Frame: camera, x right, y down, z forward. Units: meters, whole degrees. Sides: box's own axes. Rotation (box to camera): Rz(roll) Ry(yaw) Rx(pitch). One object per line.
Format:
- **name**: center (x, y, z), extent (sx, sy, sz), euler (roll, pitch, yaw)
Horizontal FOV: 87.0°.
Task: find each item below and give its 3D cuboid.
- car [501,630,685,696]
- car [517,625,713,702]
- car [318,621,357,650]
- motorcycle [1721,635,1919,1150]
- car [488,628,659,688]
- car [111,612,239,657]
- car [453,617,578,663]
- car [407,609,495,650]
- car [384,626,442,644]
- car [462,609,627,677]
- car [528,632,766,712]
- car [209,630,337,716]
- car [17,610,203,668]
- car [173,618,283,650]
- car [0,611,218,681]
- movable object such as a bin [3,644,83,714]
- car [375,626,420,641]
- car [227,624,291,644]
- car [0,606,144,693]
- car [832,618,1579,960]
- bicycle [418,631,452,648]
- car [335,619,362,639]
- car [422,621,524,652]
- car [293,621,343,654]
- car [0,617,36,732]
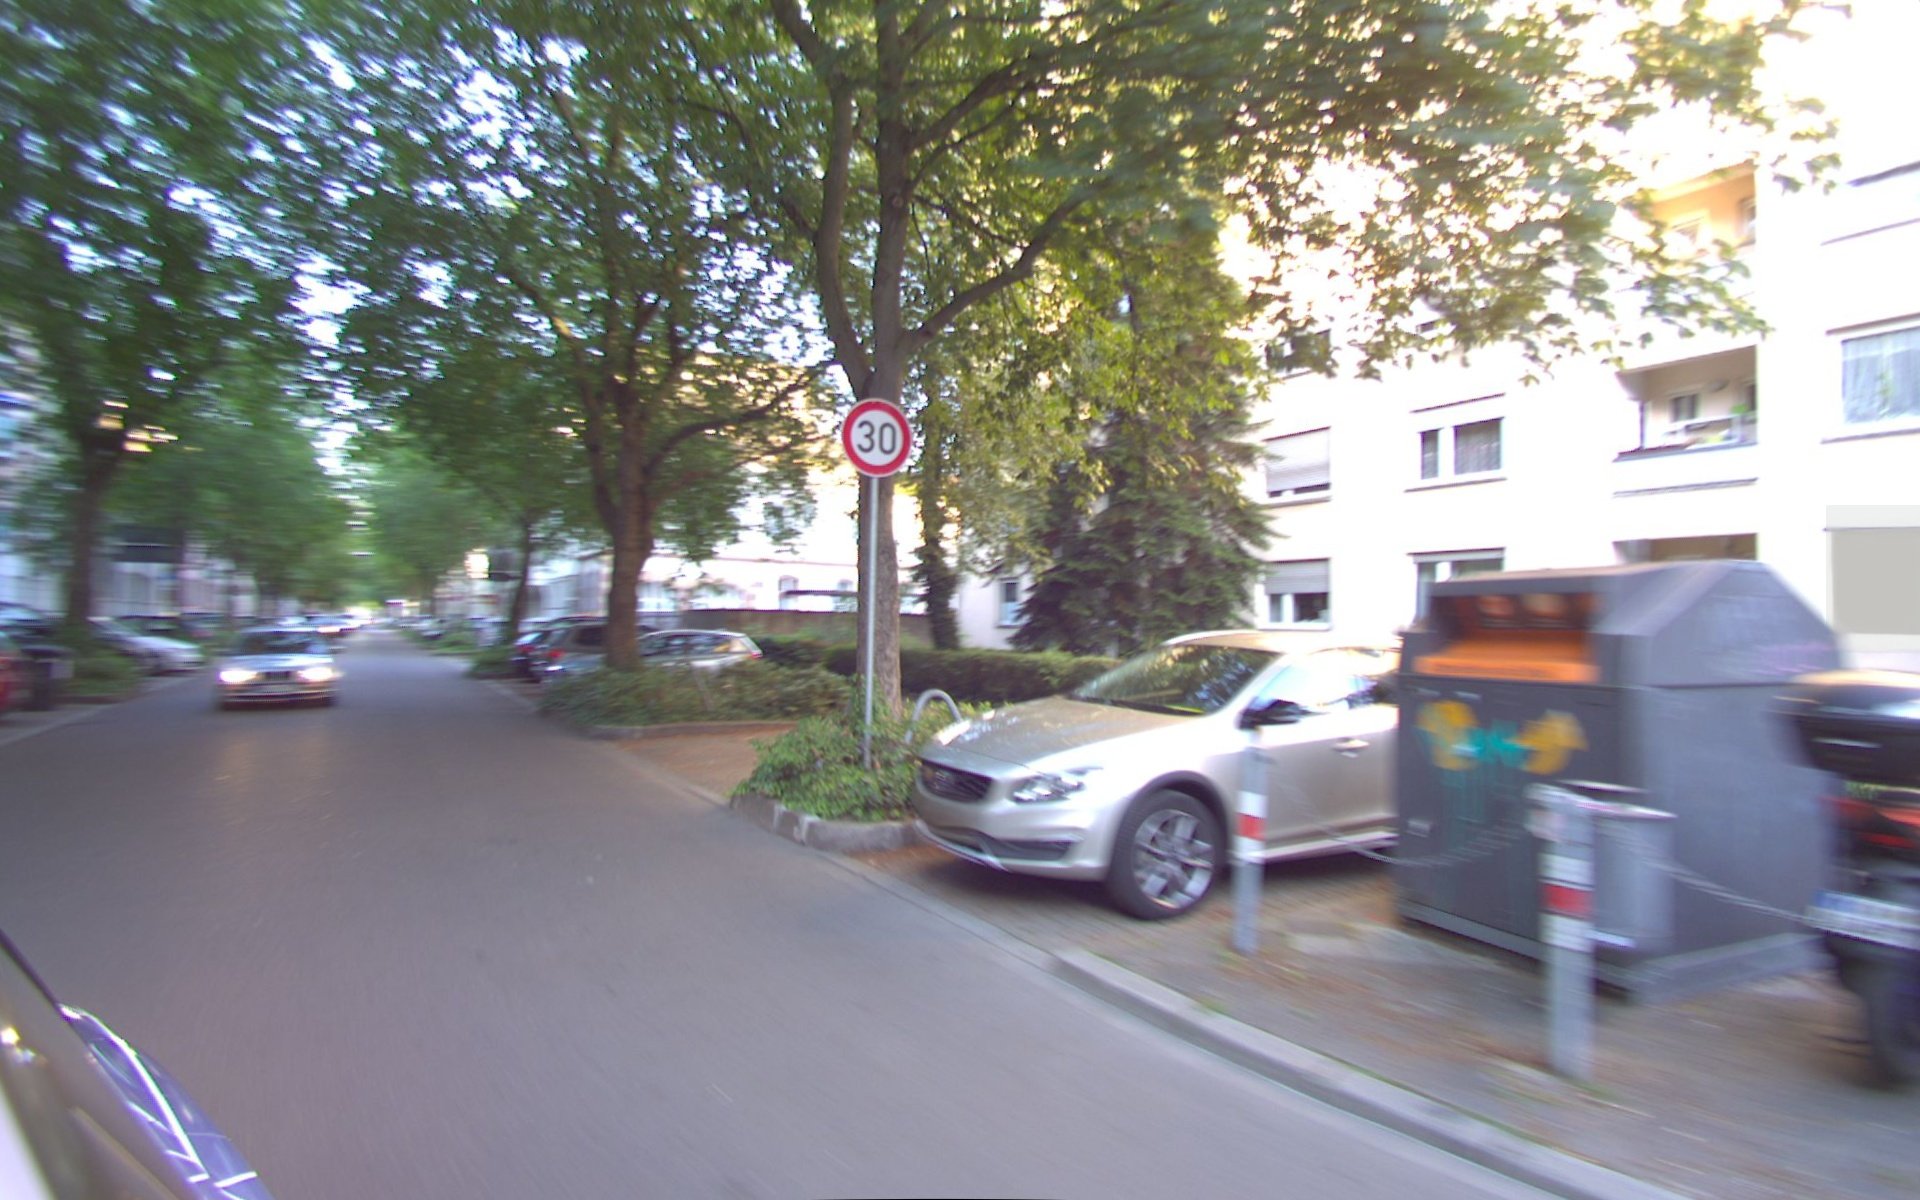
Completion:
- **car**: center (-9.021, 1.507, 24.995), extent (3.933, 1.502, 1.830), euler (2, -2, -34)
- **car**: center (-7.722, 1.386, 22.659), extent (3.930, 1.577, 1.935), euler (2, -2, -26)
- **car**: center (-42.369, 2.394, 68.947), extent (1.965, 1.863, 4.013), euler (1, -2, -27)
- **motorcycle**: center (3.737, 0.854, 3.447), extent (2.418, 1.431, 0.914), euler (2, -2, -29)
- **car**: center (-10.294, 1.512, 27.018), extent (3.932, 1.475, 1.927), euler (2, -2, -33)
- **car**: center (-32.670, 1.461, 42.282), extent (3.914, 1.597, 1.922), euler (5, -4, -31)
- **car**: center (-18.320, 1.647, 41.752), extent (4.443, 1.785, 2.006), euler (2, -2, -33)
- **car**: center (-32.972, 1.952, 65.587), extent (4.934, 2.592, 2.127), euler (2, -3, -31)
- **car**: center (-48.740, 3.119, 90.148), extent (4.447, 1.537, 1.877), euler (2, -2, -31)
- **car**: center (-12.917, 1.325, 31.559), extent (4.443, 1.970, 2.006), euler (2, -2, -33)
- **car**: center (-6.242, 1.390, 20.303), extent (4.228, 1.440, 1.885), euler (2, -2, -31)
- **car**: center (-12.496, 1.251, 18.519), extent (1.709, 1.381, 4.344), euler (2, -2, -33)
- **car**: center (-25.261, 1.186, 30.298), extent (4.029, 1.462, 1.939), euler (6, -5, -36)
- **car**: center (-38.913, 1.822, 53.929), extent (4.396, 1.438, 2.017), euler (5, -4, -27)
- **car**: center (-21.625, 1.172, 25.442), extent (4.537, 1.479, 1.801), euler (5, -4, -32)
- **movable object such as a bin**: center (-14.956, 1.282, 16.523), extent (0.750, 1.092, 0.788), euler (4, -3, -30)
- **car**: center (-66.834, 3.950, 120.219), extent (4.527, 1.748, 2.148), euler (2, -2, -26)
- **car**: center (-54.464, 2.675, 78.704), extent (4.026, 1.502, 1.803), euler (2, -2, -34)
- **car**: center (-19.674, 0.936, 20.556), extent (4.580, 1.630, 2.015), euler (6, -5, -35)
- **car**: center (1.684, 0.935, 6.664), extent (4.554, 1.564, 2.082), euler (1, -2, -29)
- **bicycle**: center (-27.050, 2.043, 52.114), extent (1.531, 0.837, 0.615), euler (2, -2, -28)
- **car**: center (-58.125, 2.742, 96.250), extent (1.965, 1.863, 4.013), euler (1, -2, -27)
- **car**: center (-26.364, 1.981, 54.862), extent (4.785, 1.634, 2.167), euler (2, -2, -30)
- **car**: center (-34.258, 1.974, 54.112), extent (1.862, 1.658, 4.013), euler (1, -2, -27)
- **car**: center (-15.045, 0.984, 13.480), extent (3.724, 1.556, 1.883), euler (2, -2, -32)
